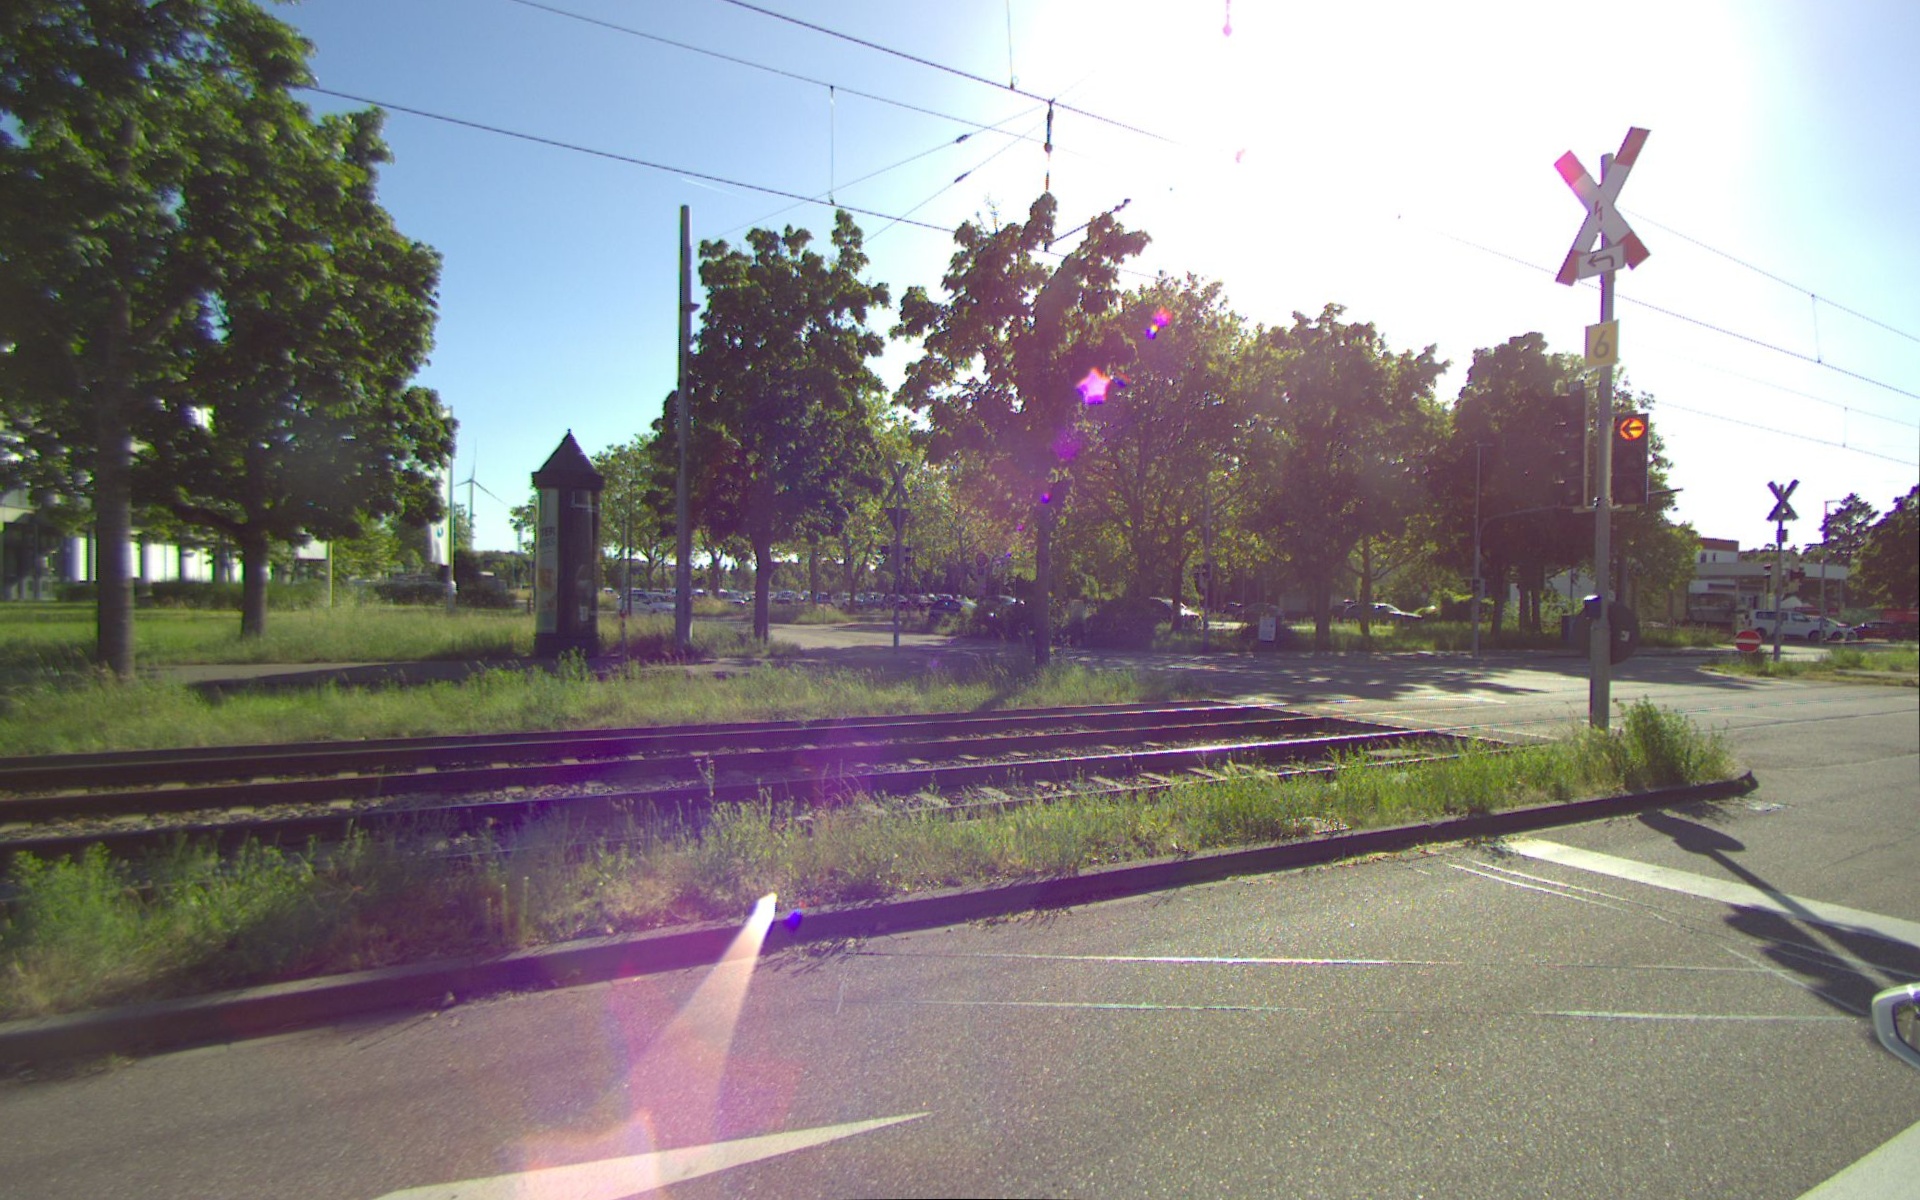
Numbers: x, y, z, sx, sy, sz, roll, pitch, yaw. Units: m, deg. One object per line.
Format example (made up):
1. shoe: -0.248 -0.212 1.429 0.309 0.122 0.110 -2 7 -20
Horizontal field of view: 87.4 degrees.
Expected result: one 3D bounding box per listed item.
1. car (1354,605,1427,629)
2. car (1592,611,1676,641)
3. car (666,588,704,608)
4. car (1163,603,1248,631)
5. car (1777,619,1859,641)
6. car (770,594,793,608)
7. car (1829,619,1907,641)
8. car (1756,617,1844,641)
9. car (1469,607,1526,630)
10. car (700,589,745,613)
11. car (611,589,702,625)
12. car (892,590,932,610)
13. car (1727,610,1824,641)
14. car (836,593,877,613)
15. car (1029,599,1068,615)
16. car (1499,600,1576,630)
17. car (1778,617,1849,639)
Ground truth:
1. car: 26.905 1.044 62.904 1.649 1.451 3.939 1 0 -35
2. car: 42.231 1.615 63.014 1.713 1.545 3.939 4 0 -35
3. car: -24.120 -0.157 88.138 1.815 1.627 3.956 1 1 -38
4. car: 12.811 0.864 52.471 1.860 1.400 3.949 1 0 -43
5. car: 61.459 2.147 71.972 4.383 1.490 1.792 1 0 -1
6. car: -21.626 0.140 121.836 1.805 1.627 3.976 1 0 -24
7. car: 68.472 2.234 75.764 1.772 1.589 4.048 1 0 -32
8. car: 58.083 1.975 69.488 4.380 1.548 1.793 1 0 8
9. car: 38.173 1.338 71.371 4.037 1.565 1.571 1 0 -28
10. car: -17.705 0.084 74.714 1.815 1.690 3.956 1 1 -38
11. car: -14.751 0.321 48.766 4.359 1.662 1.983 1 0 36
12. car: -4.500 -0.004 93.941 1.815 1.690 3.956 1 1 -38
13. car: 54.465 1.692 67.156 4.689 2.000 1.862 1 0 8
14. car: -9.269 0.242 89.874 1.815 1.690 3.956 1 1 -38
15. car: 9.031 0.706 102.792 1.829 1.451 3.939 1 0 -35
16. car: 43.759 1.110 76.209 1.998 2.119 4.696 1 0 -31
17. car: 68.389 2.222 80.546 1.772 1.589 4.048 1 0 -32
